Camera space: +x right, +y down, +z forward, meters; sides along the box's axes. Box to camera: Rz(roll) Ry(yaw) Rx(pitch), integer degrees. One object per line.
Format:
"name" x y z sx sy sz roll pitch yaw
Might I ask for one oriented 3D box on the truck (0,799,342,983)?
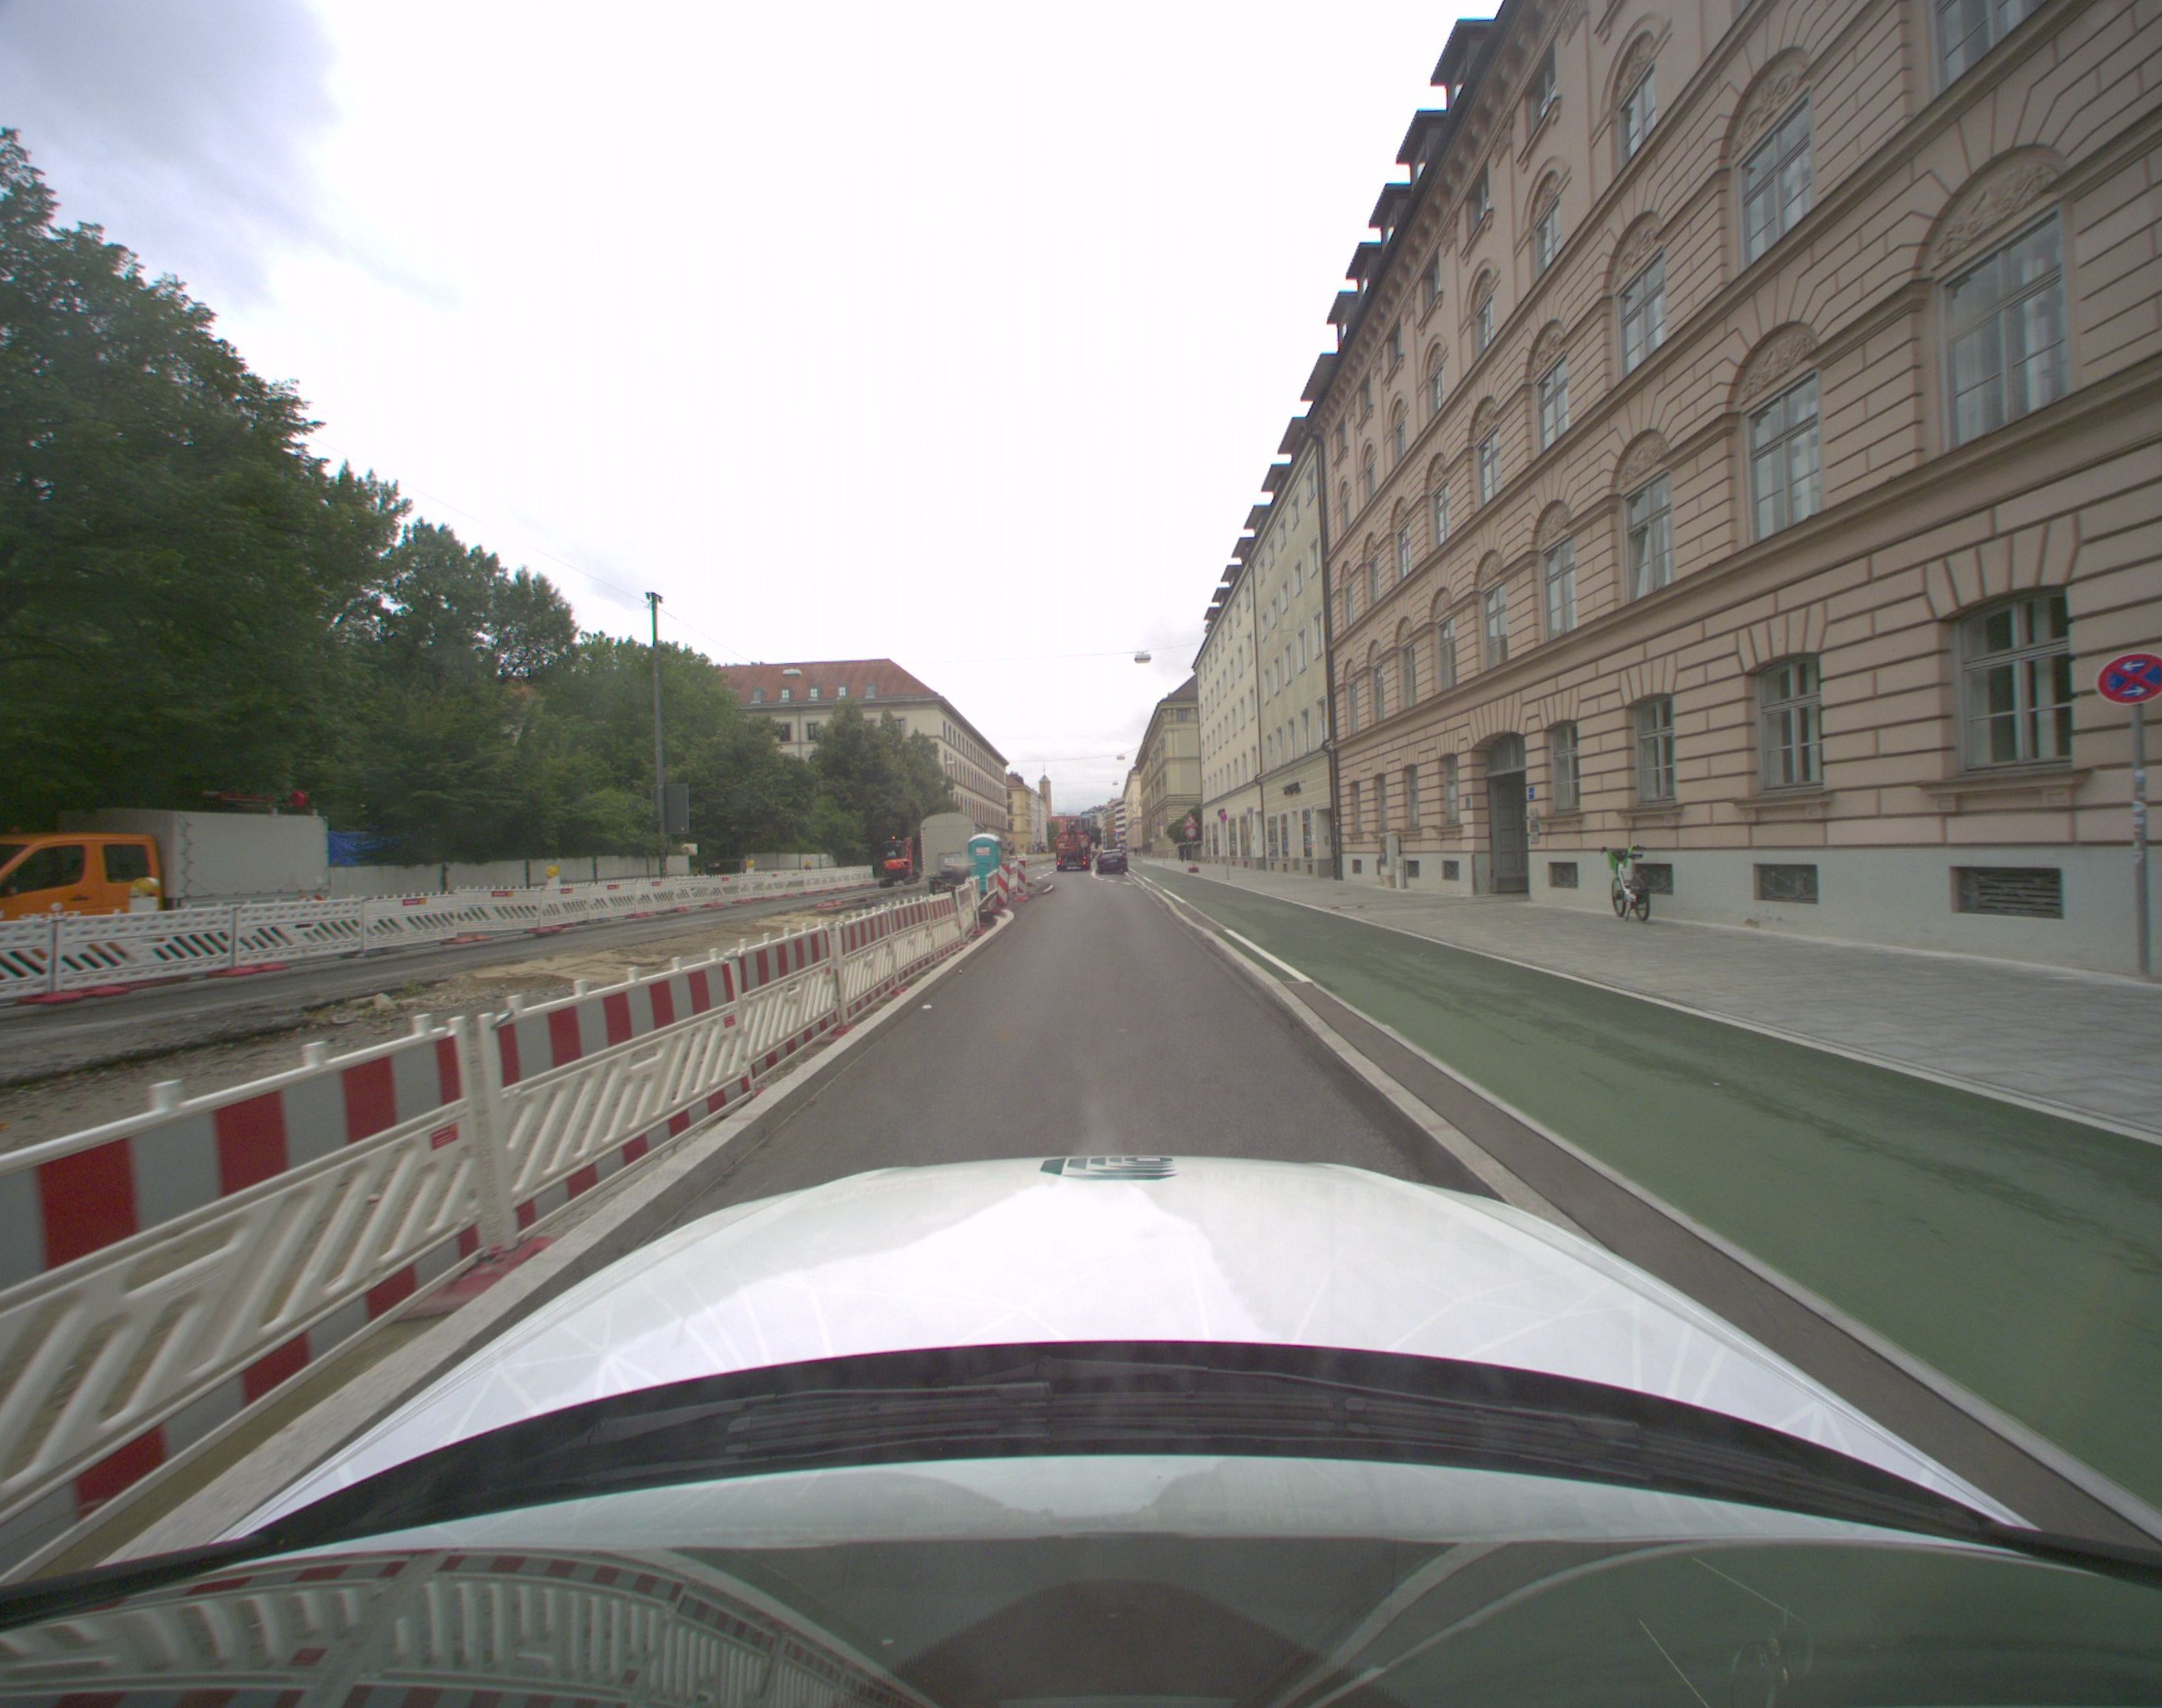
"truck" -16.951 0.556 14.501 1.986 2.728 5.873 -2 0 2

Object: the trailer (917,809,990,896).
"trailer" -5.315 -0.062 35.037 2.222 3.243 7.509 -2 0 -3

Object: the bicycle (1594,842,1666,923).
"bicycle" 8.546 0.408 12.734 0.422 1.174 1.740 -3 0 18

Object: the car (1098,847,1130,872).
"car" 2.072 0.328 52.183 1.796 1.480 4.687 -3 0 0

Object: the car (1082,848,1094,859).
"car" 0.977 -0.091 110.907 1.604 1.495 3.425 -2 0 1

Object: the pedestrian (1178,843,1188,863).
"pedestrian" 9.725 -0.125 77.807 0.787 1.836 0.777 -2 0 2

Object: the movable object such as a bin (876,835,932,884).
"movable object such as a bin" -9.972 0.285 46.179 1.916 2.572 4.495 -1 0 2

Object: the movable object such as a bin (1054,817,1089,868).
"movable object such as a bin" -0.671 -0.836 62.239 2.415 3.611 5.851 -2 0 0
